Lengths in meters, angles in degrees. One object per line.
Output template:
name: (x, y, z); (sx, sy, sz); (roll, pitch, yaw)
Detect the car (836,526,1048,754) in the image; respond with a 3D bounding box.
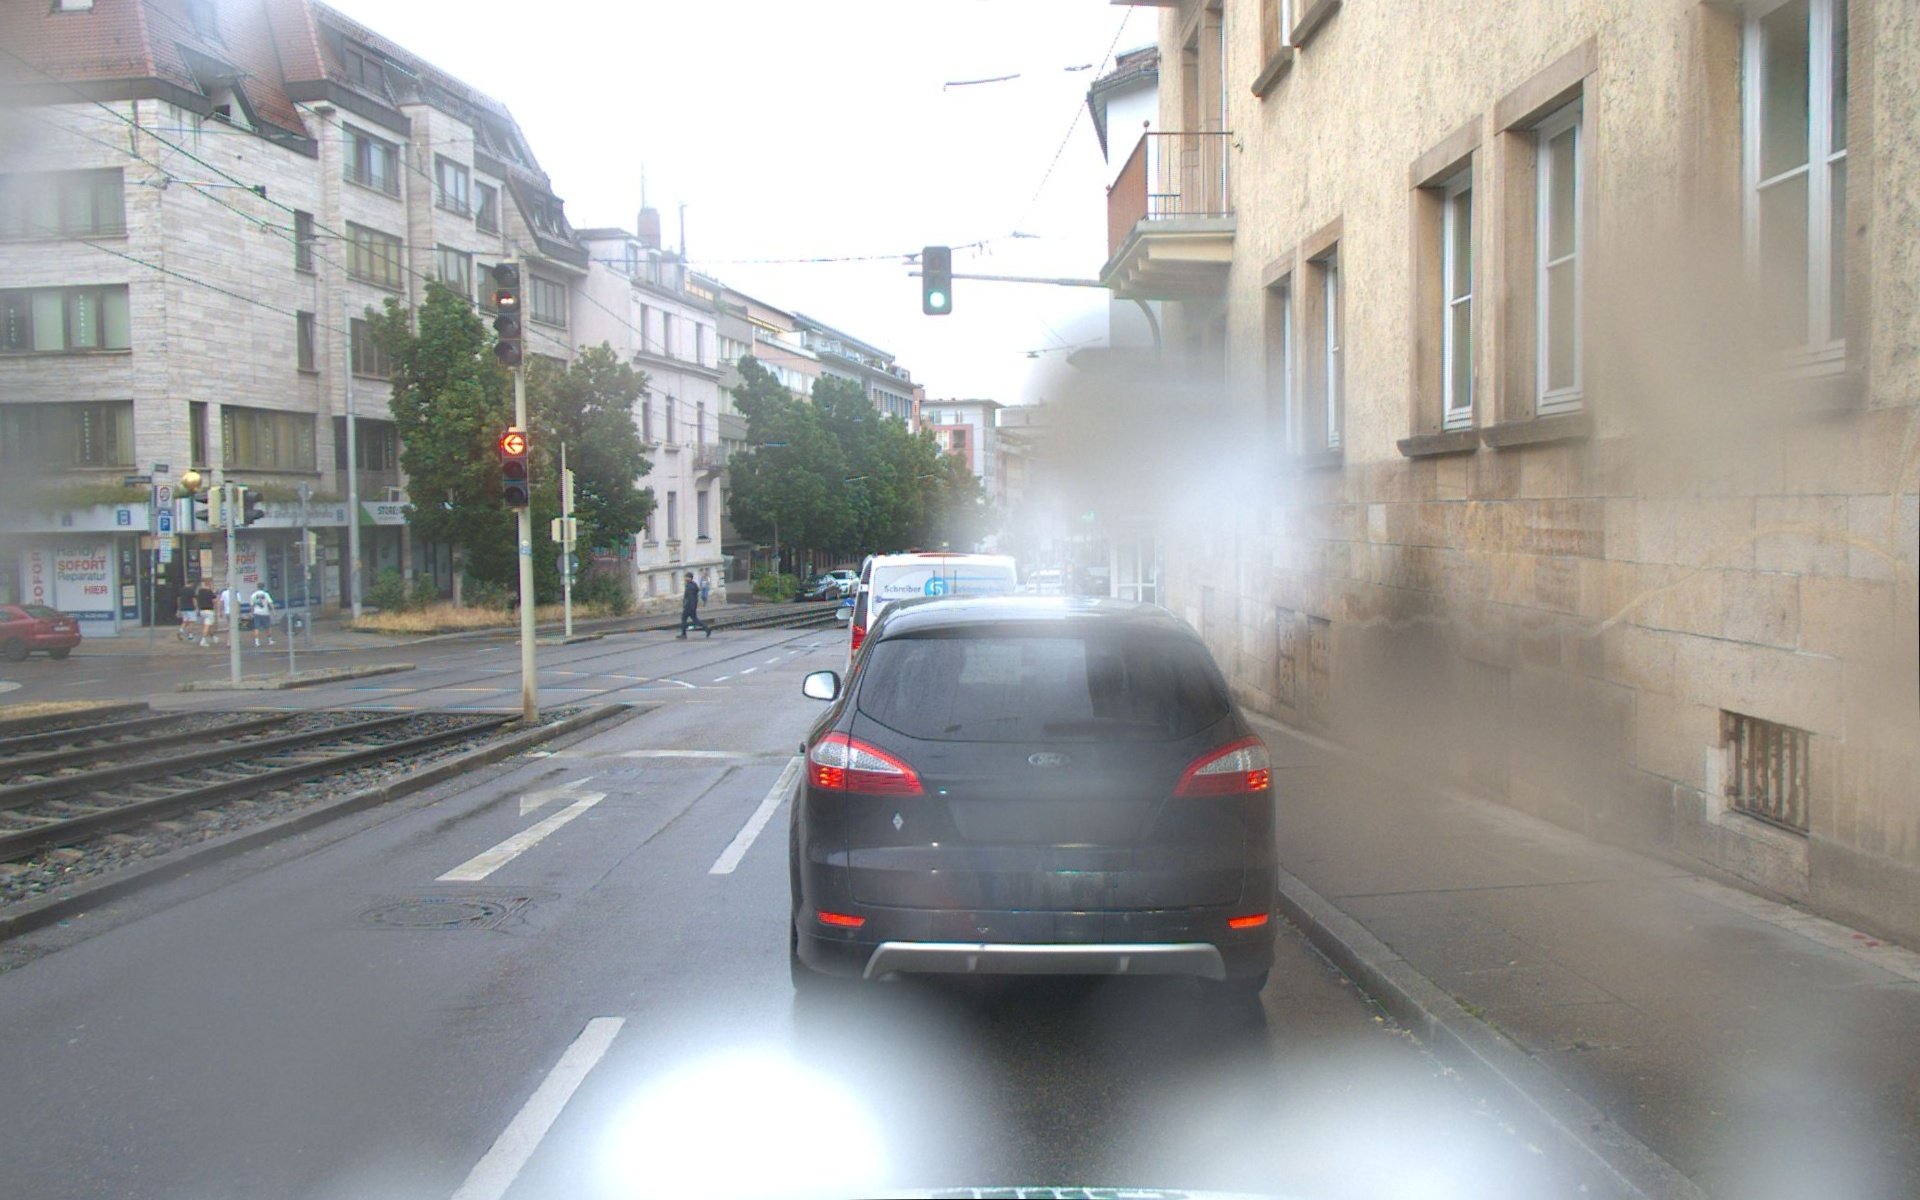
car: (-0.230, 0.372, 17.718); (1.948, 2.096, 4.643); (1, 0, -2)

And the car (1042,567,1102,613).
car: (4.280, -0.384, 62.787); (1.806, 1.661, 4.590); (-1, 0, 9)

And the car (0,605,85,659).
car: (-24.449, 0.818, 42.163); (3.614, 1.341, 1.595); (-1, 0, 13)

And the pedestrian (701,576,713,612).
pedestrian: (-12.018, -0.296, 78.613); (0.458, 1.681, 0.582); (1, 0, -3)

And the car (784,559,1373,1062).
car: (0.335, 0.655, 7.106); (1.805, 1.533, 3.999); (1, 0, -1)

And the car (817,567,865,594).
car: (-7.156, -1.180, 99.661); (1.816, 1.575, 4.725); (0, 0, 9)

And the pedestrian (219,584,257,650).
pedestrian: (-19.494, 0.462, 44.637); (0.634, 1.754, 0.684); (1, 0, 7)

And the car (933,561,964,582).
car: (-0.966, -2.394, 139.548); (1.816, 1.665, 4.939); (0, 0, 9)

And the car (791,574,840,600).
car: (-8.132, -0.704, 93.581); (1.657, 1.401, 4.725); (0, 0, 9)

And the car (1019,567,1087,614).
car: (3.176, -0.325, 55.901); (1.763, 1.481, 4.590); (-2, 0, 9)

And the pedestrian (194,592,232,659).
pedestrian: (-20.238, 0.695, 44.796); (0.634, 1.780, 0.684); (1, 0, 7)

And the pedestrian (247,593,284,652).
pedestrian: (-18.789, 0.596, 44.759); (0.634, 1.576, 0.684); (1, 0, 7)

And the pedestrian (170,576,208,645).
pedestrian: (-21.350, 0.298, 45.821); (0.634, 1.875, 0.684); (1, 0, 7)

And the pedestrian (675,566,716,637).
pedestrian: (-7.161, 0.041, 44.851); (0.911, 1.862, 0.960); (1, 0, 1)
